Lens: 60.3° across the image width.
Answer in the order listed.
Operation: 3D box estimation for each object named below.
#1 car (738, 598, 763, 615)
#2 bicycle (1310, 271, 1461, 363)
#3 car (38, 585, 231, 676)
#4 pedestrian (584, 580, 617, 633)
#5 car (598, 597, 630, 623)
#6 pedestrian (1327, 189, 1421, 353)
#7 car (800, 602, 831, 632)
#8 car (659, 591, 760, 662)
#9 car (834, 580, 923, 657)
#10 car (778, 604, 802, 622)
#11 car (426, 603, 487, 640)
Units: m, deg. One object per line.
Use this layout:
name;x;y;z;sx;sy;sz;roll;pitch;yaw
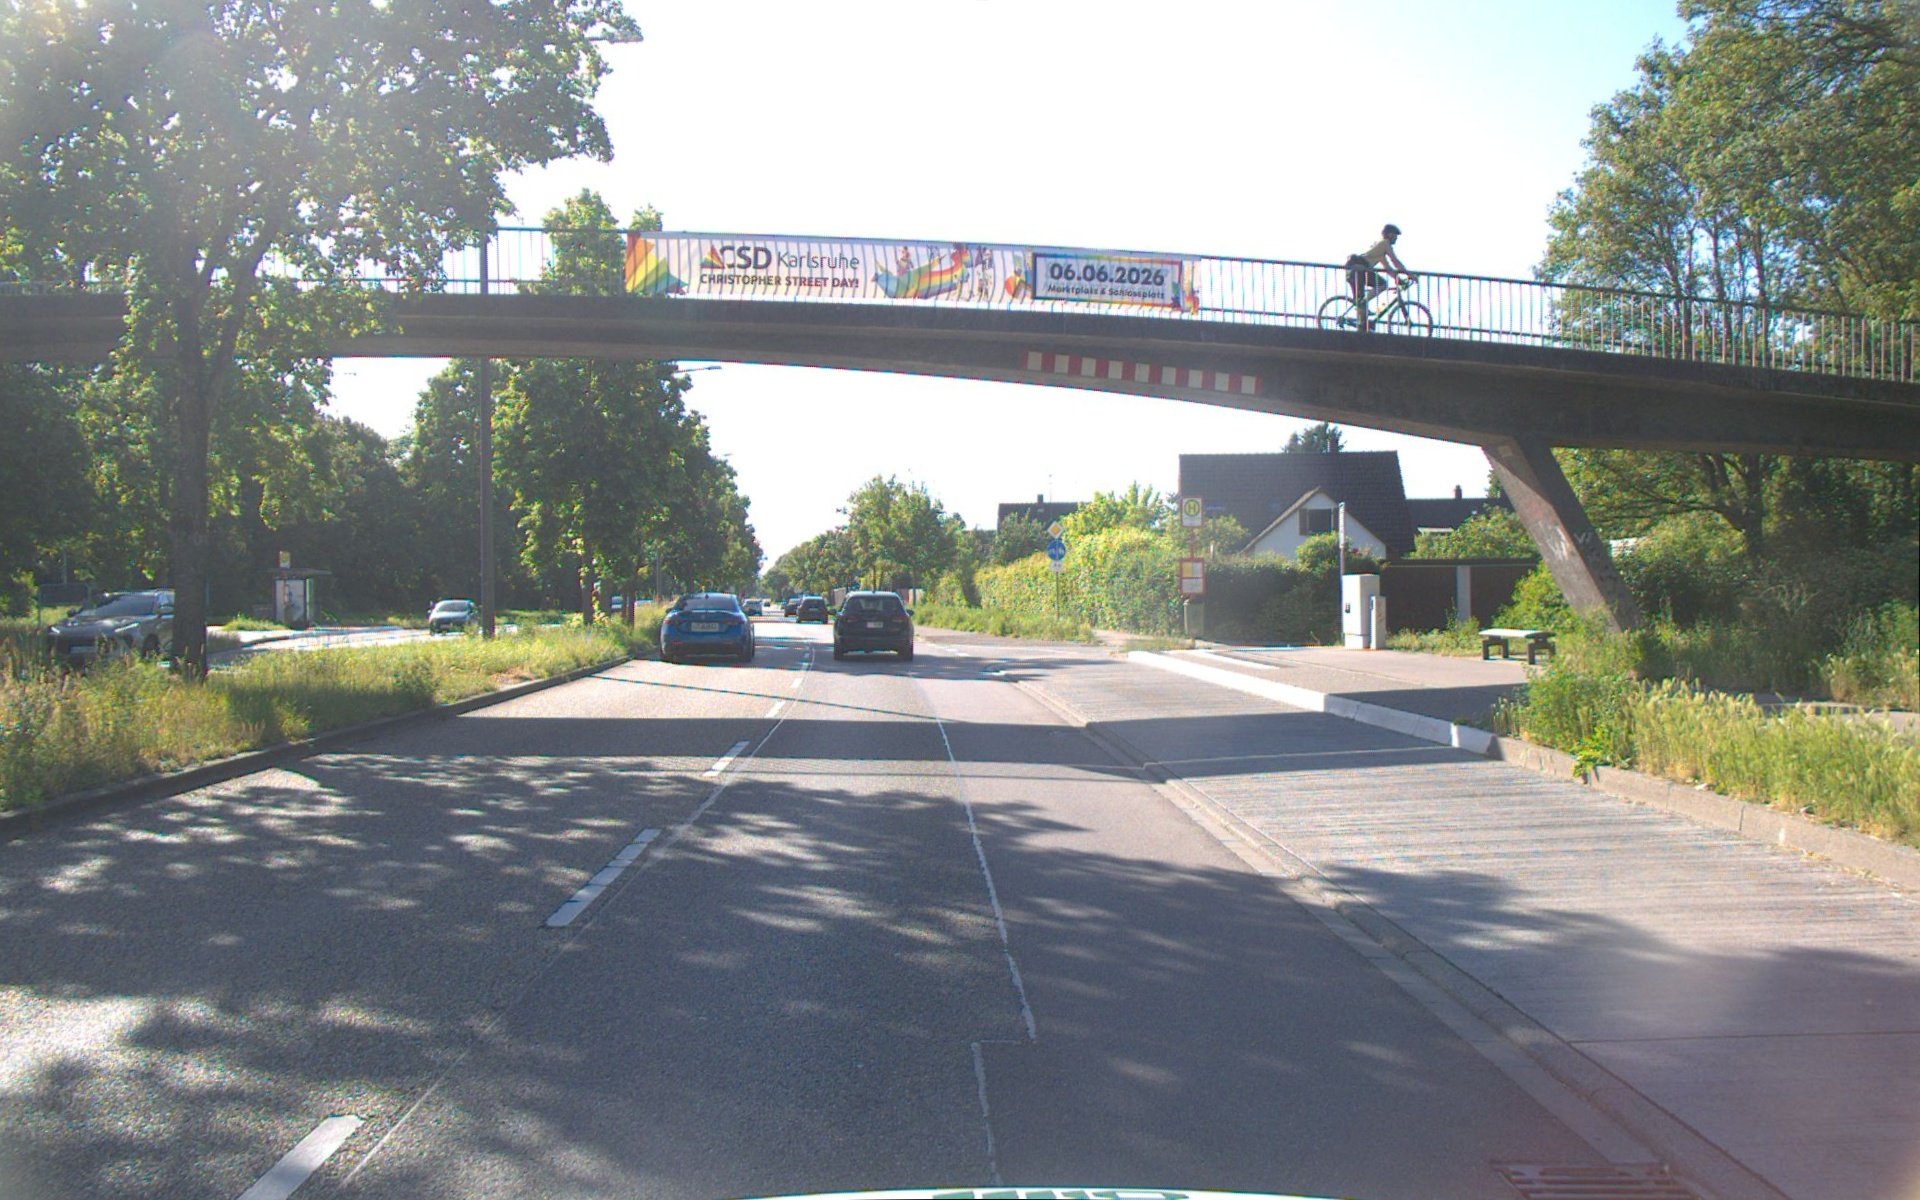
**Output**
car;-18.853;0.603;148.653;1.943;1.465;3.989;0;1;-11
bicycle;6.121;-4.065;23.845;1.949;1.127;0.727;2;0;-4
car;-16.853;0.578;34.053;1.697;1.675;4.897;-2;0;-3
pedestrian;-11.777;0.200;54.186;0.618;1.726;0.943;0;0;23
car;-22.586;0.653;108.092;1.698;1.660;4.191;-1;0;-7
pedestrian;5.950;-4.705;23.800;1.045;2.161;0.996;0;0;-5
car;-8.353;0.974;95.174;1.710;1.625;4.170;0;1;-6
car;-5.301;0.520;35.429;1.956;1.429;3.995;0;0;-6
car;-1.866;0.418;36.892;1.727;1.586;3.994;2;-1;-6
car;-13.961;1.084;135.803;1.863;1.379;3.993;0;1;-8
car;-21.242;0.880;69.896;1.510;1.456;4.252;-2;0;-4
